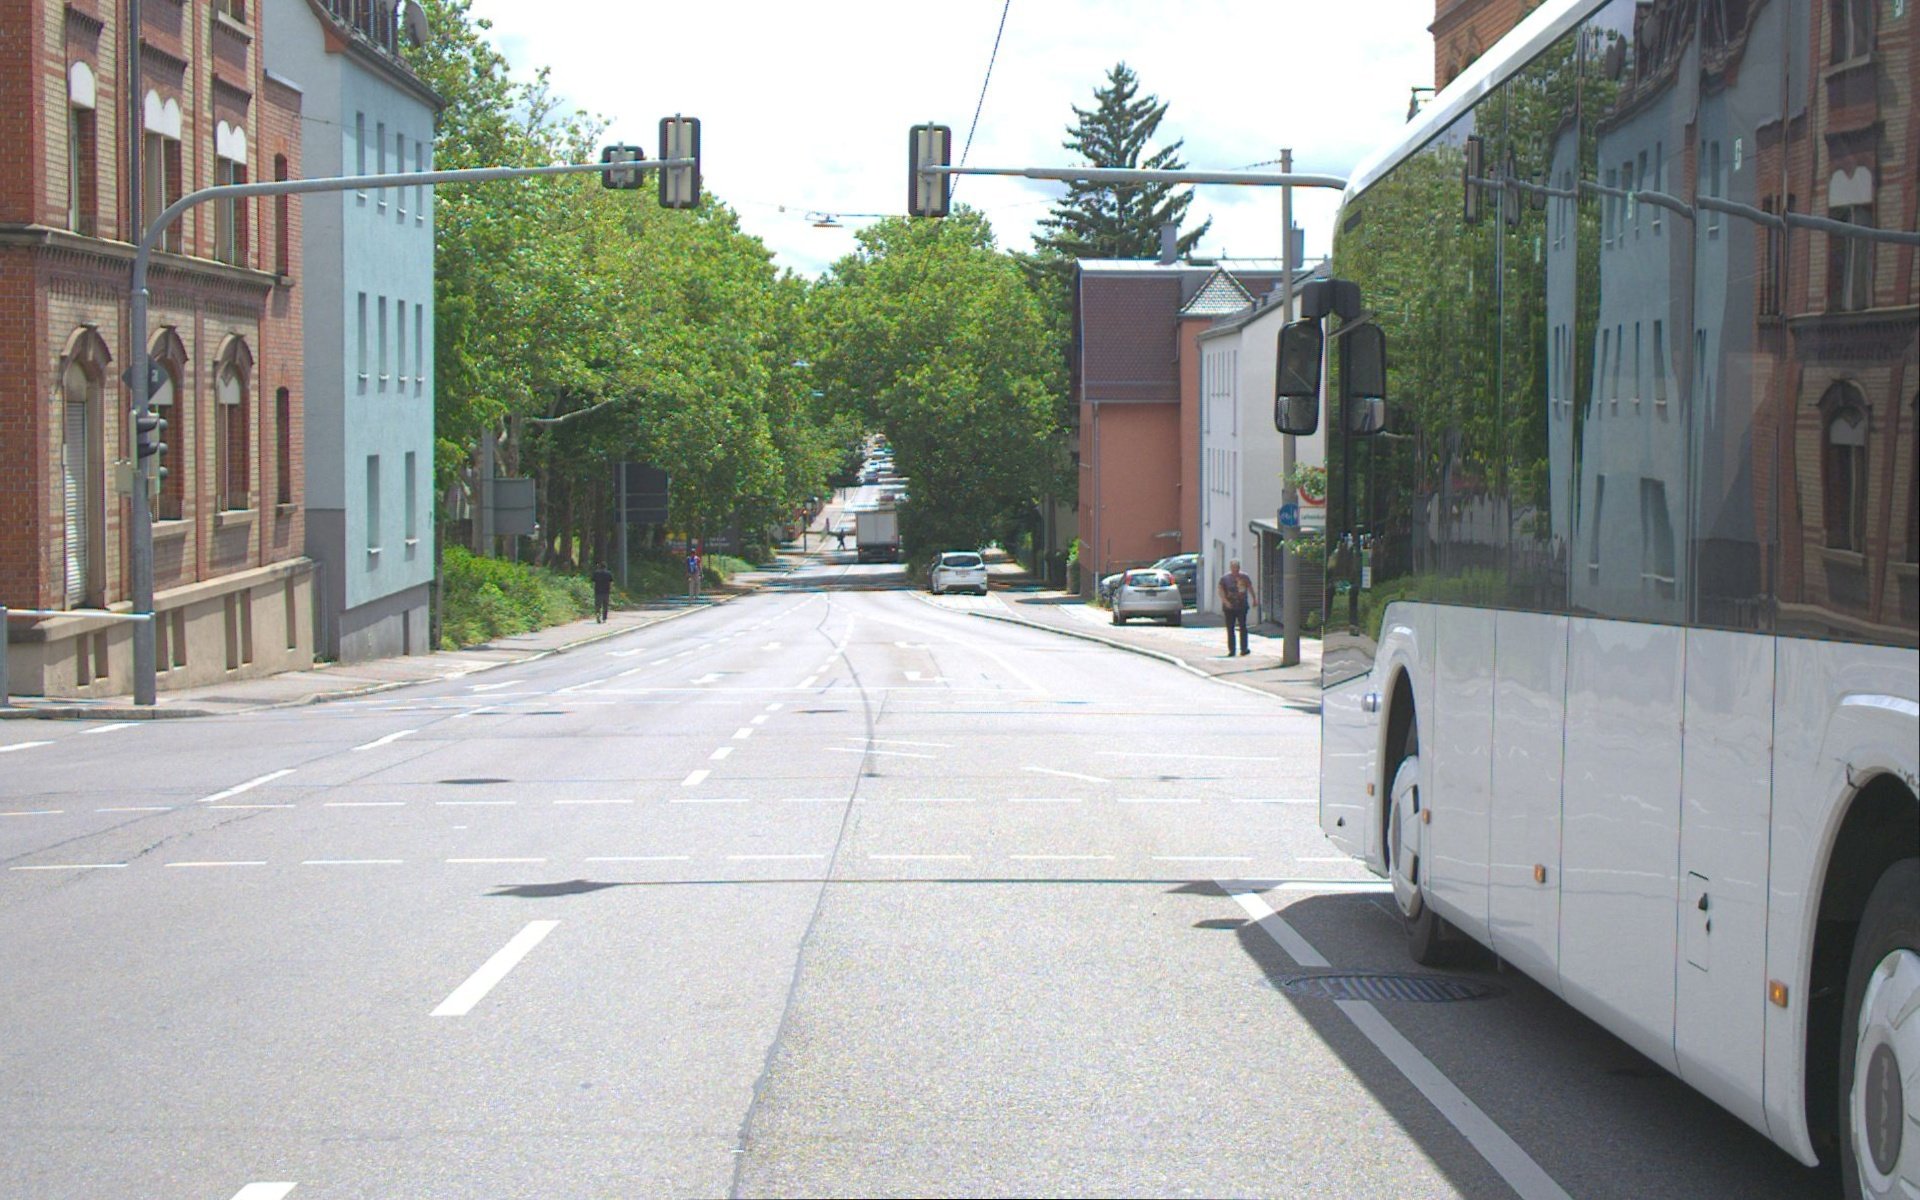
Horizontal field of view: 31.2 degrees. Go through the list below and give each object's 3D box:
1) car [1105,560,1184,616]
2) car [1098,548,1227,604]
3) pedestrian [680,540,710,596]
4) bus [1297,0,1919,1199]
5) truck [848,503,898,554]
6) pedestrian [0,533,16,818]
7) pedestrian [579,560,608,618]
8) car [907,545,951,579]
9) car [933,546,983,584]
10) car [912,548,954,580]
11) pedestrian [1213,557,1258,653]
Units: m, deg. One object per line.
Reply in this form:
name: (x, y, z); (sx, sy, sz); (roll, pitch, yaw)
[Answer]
car: (4.979, -0.343, 93.071); (1.794, 1.405, 4.001); (-1, 1, -2)
car: (6.653, -0.794, 113.170); (3.986, 1.751, 2.000); (-1, 1, -5)
pedestrian: (-9.605, -1.166, 124.511); (0.995, 2.007, 1.189); (-1, 1, -1)
bus: (2.909, -0.219, 9.190); (2.672, 3.145, 12.462); (0, 1, 0)
truck: (-5.491, -4.502, 216.459); (2.926, 3.070, 7.886); (-1, 1, -3)
pedestrian: (-6.417, 0.460, 20.967); (1.140, 1.728, 0.759); (0, 1, -5)
pedestrian: (-9.943, -0.311, 93.247); (0.729, 1.560, 0.561); (0, 1, -1)
car: (-1.292, -1.605, 146.286); (1.794, 1.405, 4.419); (1, 1, 0)
car: (-0.093, -1.322, 129.486); (1.794, 1.405, 4.000); (1, 1, -1)
car: (-1.195, -1.605, 153.932); (1.794, 1.405, 4.419); (1, 1, 0)
pedestrian: (5.034, 0.089, 62.781); (0.738, 1.744, 0.619); (-1, 1, -1)
